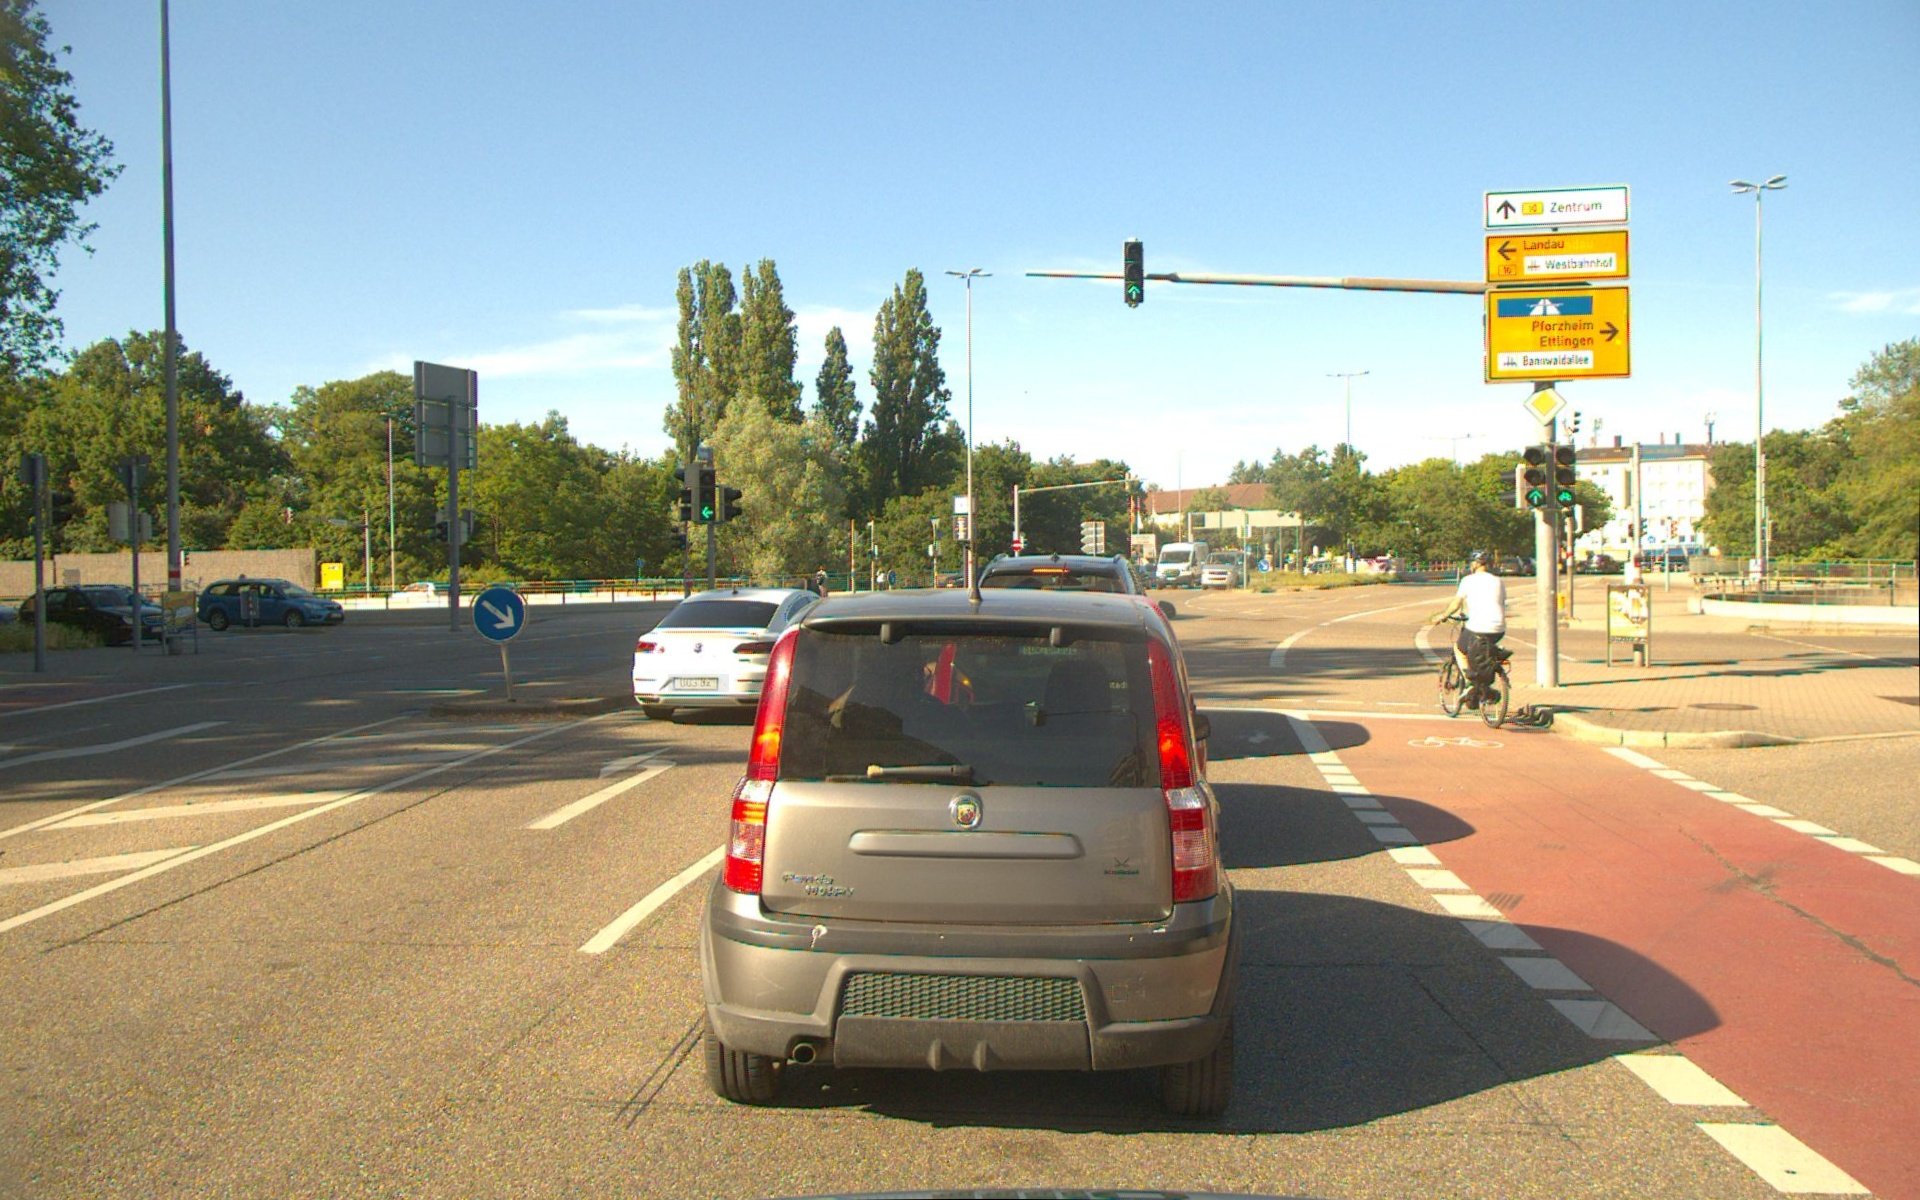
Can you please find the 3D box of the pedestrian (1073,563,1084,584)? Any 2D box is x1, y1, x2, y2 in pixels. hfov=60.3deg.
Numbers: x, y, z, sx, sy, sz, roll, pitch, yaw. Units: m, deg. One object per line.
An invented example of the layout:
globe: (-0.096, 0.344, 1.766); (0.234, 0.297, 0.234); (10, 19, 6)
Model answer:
pedestrian: (9.232, -2.067, 128.796); (0.706, 1.670, 0.672); (1, -1, 24)

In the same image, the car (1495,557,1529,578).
car: (42.437, -2.515, 127.038); (1.907, 1.555, 4.093); (0, 1, 27)

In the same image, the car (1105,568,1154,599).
car: (9.445, -0.934, 91.902); (1.896, 1.534, 4.003); (-2, 1, 17)

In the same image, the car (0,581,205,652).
car: (-21.045, 0.393, 40.235); (4.668, 1.649, 1.953); (0, 1, 15)

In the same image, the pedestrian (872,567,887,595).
pedestrian: (-4.677, -1.125, 95.779); (0.698, 1.574, 0.725); (-2, -1, -16)

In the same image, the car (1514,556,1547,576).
car: (45.920, -2.737, 133.053); (1.908, 1.555, 4.093); (0, 1, 27)

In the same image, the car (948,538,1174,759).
car: (1.116, 0.370, 16.178); (1.904, 1.872, 4.156); (-1, 1, 7)

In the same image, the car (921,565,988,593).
car: (-0.321, -1.323, 104.151); (3.961, 1.653, 1.874); (1, 0, -39)

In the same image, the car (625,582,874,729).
car: (-2.275, 0.540, 19.047); (1.742, 1.439, 4.323); (0, 1, 8)

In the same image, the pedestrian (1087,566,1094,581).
pedestrian: (10.121, -2.055, 128.718); (0.415, 1.156, 0.397); (1, -1, 24)

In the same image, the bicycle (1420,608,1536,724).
bicycle: (5.533, 0.680, 17.769); (0.677, 1.121, 1.826); (0, 1, 0)

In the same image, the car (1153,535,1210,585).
car: (12.213, -2.193, 90.955); (1.896, 2.621, 6.091); (0, 1, 19)

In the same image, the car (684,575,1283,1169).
car: (0.203, 0.699, 6.320); (1.583, 1.542, 3.822); (-1, 1, 4)

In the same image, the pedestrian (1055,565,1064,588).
pedestrian: (7.511, -1.776, 124.942); (0.488, 1.731, 0.500); (1, -1, 24)

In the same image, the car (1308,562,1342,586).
car: (26.660, -1.925, 120.815); (1.896, 1.650, 4.508); (0, 1, 19)

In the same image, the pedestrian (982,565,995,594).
pedestrian: (1.587, -1.156, 92.595); (0.547, 1.574, 0.573); (-2, 0, -16)

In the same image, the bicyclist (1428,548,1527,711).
bicyclist: (5.537, 0.289, 17.756); (0.709, 1.688, 1.113); (0, 1, 0)

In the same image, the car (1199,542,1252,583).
car: (13.985, -1.975, 86.993); (1.896, 2.043, 4.933); (0, 1, 19)

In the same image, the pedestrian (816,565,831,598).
pedestrian: (-6.183, -0.833, 74.806); (0.666, 1.488, 0.702); (-1, 1, -7)

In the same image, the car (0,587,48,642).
car: (-26.381, 0.377, 43.537); (4.404, 1.381, 1.879); (0, 1, 24)

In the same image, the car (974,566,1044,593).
car: (3.029, -1.297, 101.983); (4.292, 1.562, 1.758); (-2, 3, -42)

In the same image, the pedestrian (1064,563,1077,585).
pedestrian: (8.293, -1.946, 124.385); (0.777, 1.693, 0.626); (0, -1, 40)

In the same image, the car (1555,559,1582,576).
car: (58.327, -3.144, 158.536); (1.908, 1.555, 4.092); (0, 1, 28)

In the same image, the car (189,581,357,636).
car: (-20.748, 0.239, 50.003); (4.348, 1.567, 1.953); (-1, 1, 13)

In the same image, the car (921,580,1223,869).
car: (0.739, 0.646, 10.674); (1.583, 1.488, 3.753); (-1, 1, 4)

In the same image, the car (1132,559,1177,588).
car: (11.616, -1.604, 98.536); (1.773, 1.568, 4.619); (-2, 1, 18)
